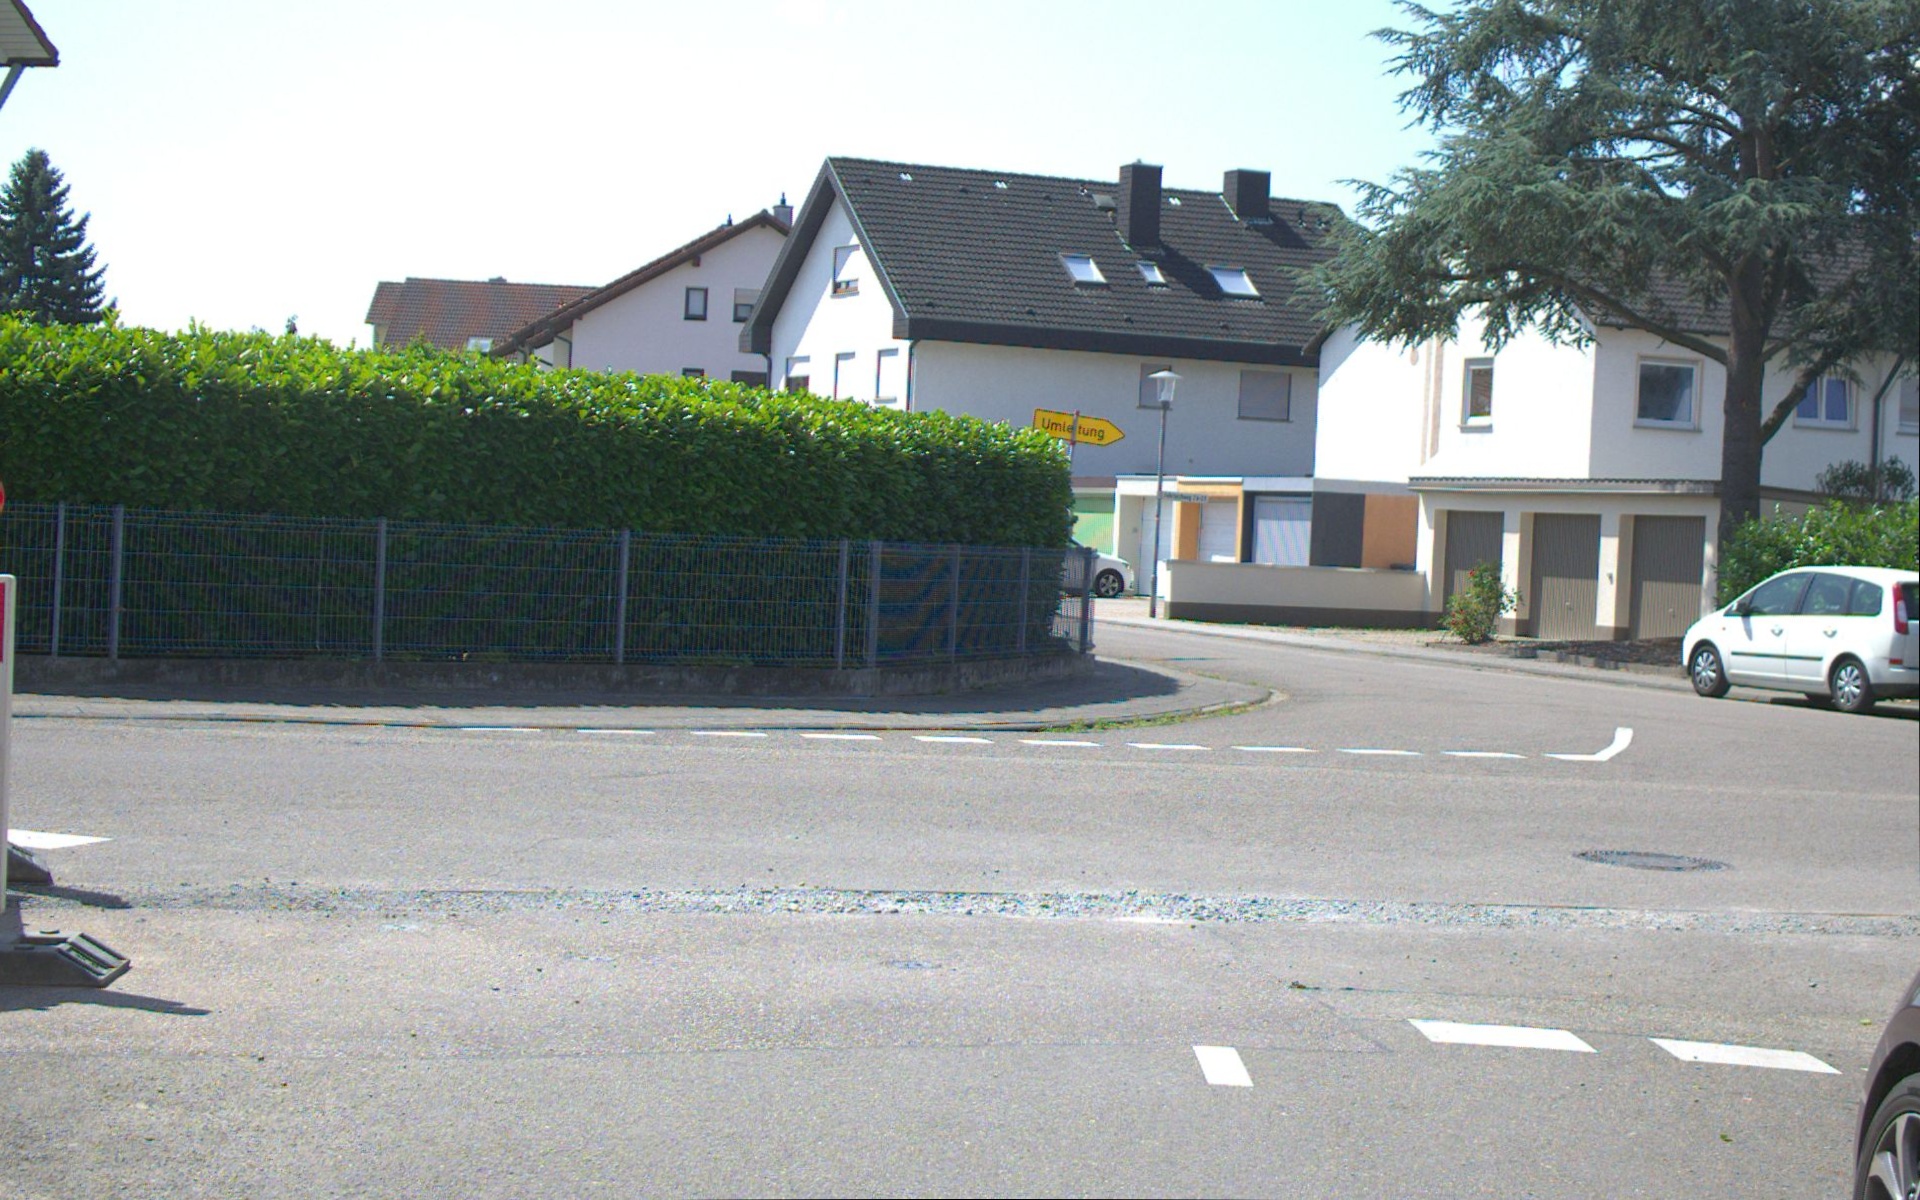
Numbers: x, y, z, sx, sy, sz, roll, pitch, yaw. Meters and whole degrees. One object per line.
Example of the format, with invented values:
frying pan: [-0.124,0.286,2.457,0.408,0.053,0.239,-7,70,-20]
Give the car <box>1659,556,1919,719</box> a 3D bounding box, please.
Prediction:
car: [9.836,0.410,38.447,1.797,1.557,4.145,3,2,-24]

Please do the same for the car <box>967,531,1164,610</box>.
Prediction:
car: [2.191,-0.610,71.482,3.598,1.403,1.785,3,1,-22]

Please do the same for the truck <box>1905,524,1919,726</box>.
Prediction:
truck: [11.815,0.423,32.403,2.363,2.007,5.714,3,1,-25]

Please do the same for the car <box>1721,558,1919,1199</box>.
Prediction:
car: [2.653,0.808,5.540,1.712,1.527,4.036,7,1,-2]
